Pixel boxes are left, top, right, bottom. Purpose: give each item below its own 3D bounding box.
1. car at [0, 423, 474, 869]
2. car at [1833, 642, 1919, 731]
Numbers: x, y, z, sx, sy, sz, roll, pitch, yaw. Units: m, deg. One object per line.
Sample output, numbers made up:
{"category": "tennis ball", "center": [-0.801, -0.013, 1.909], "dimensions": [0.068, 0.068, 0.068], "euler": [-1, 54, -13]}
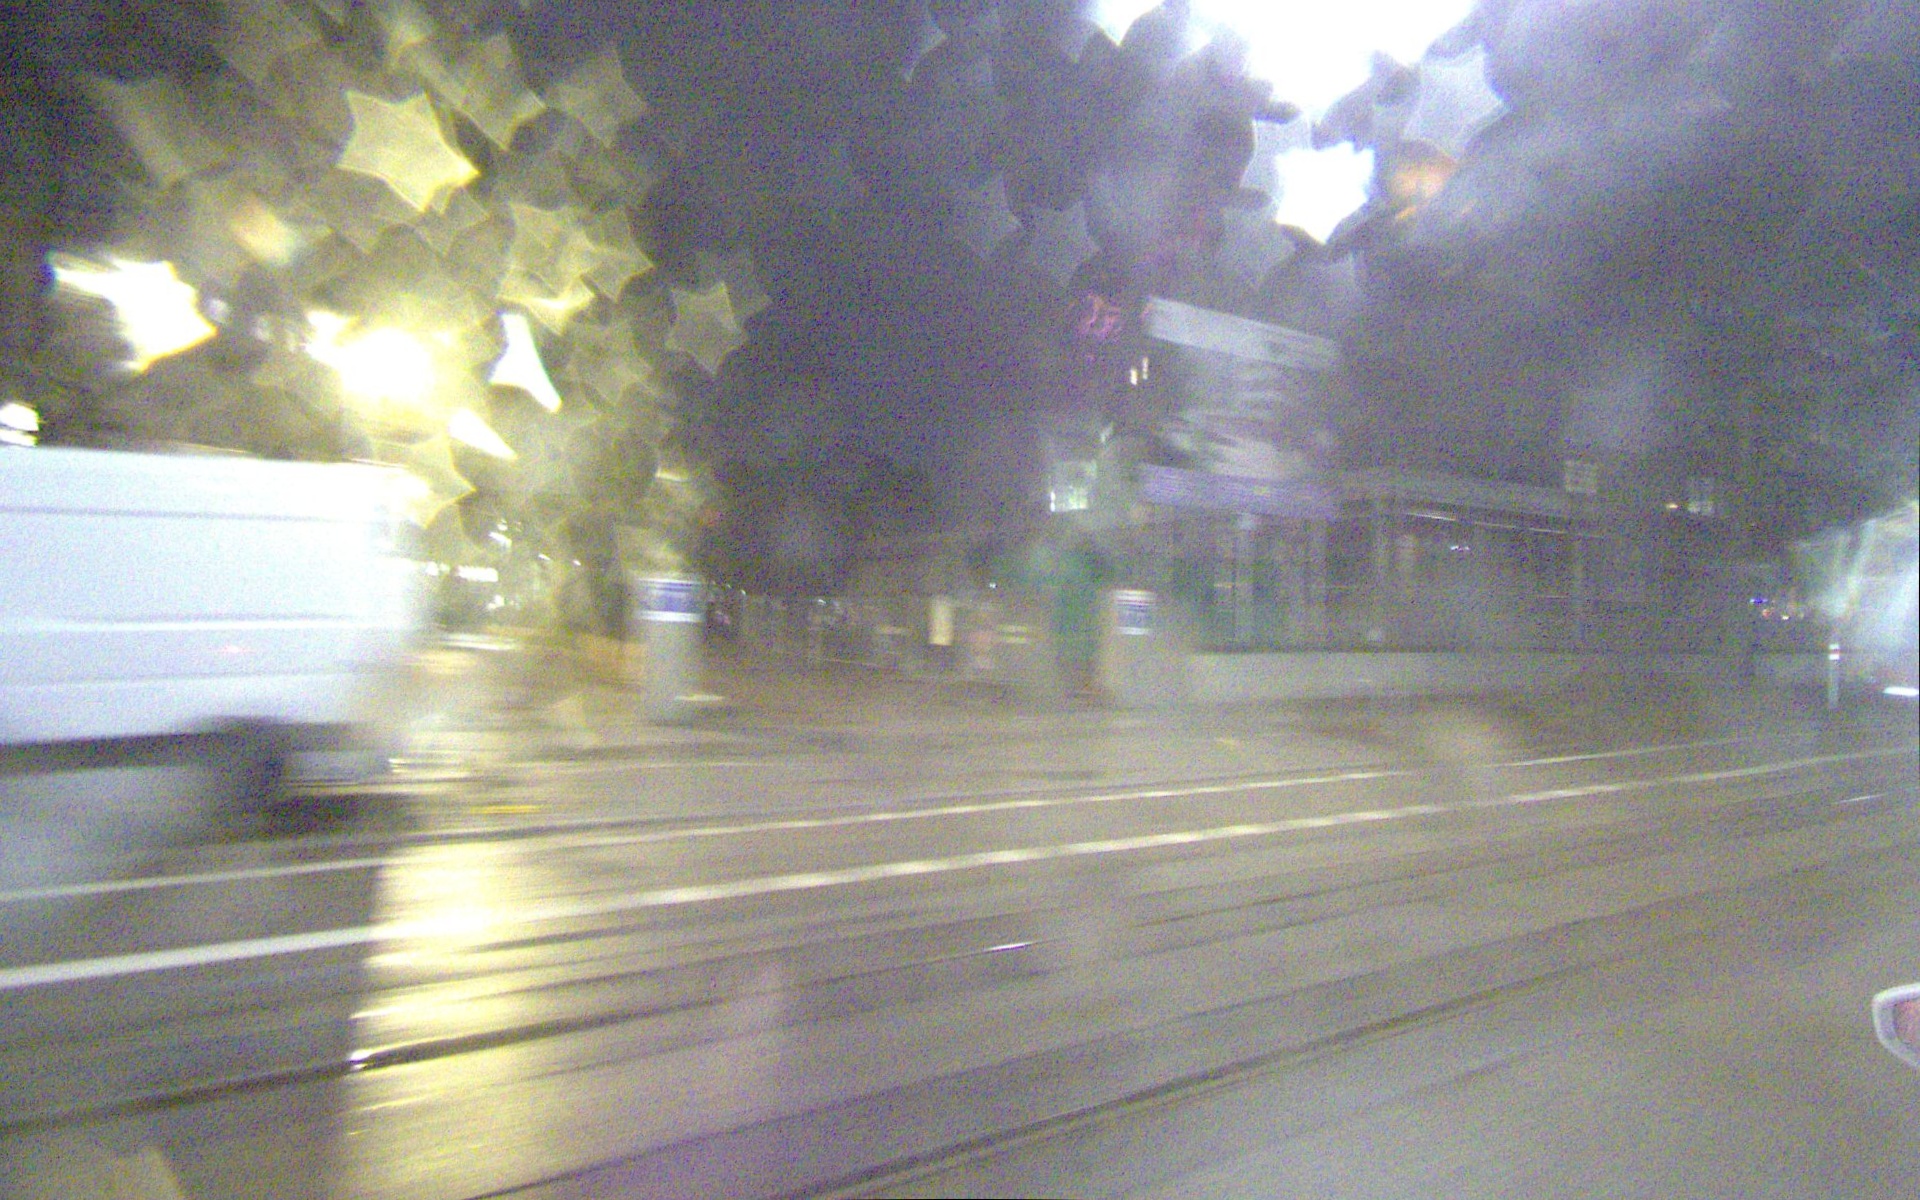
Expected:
{"category": "car", "center": [-6.273, 0.221, 6.358], "dimensions": [5.546, 2.532, 2.013], "euler": [1, 2, -33]}
{"category": "car", "center": [22.388, 1.981, 23.132], "dimensions": [4.912, 1.788, 2.096], "euler": [3, 1, -33]}
